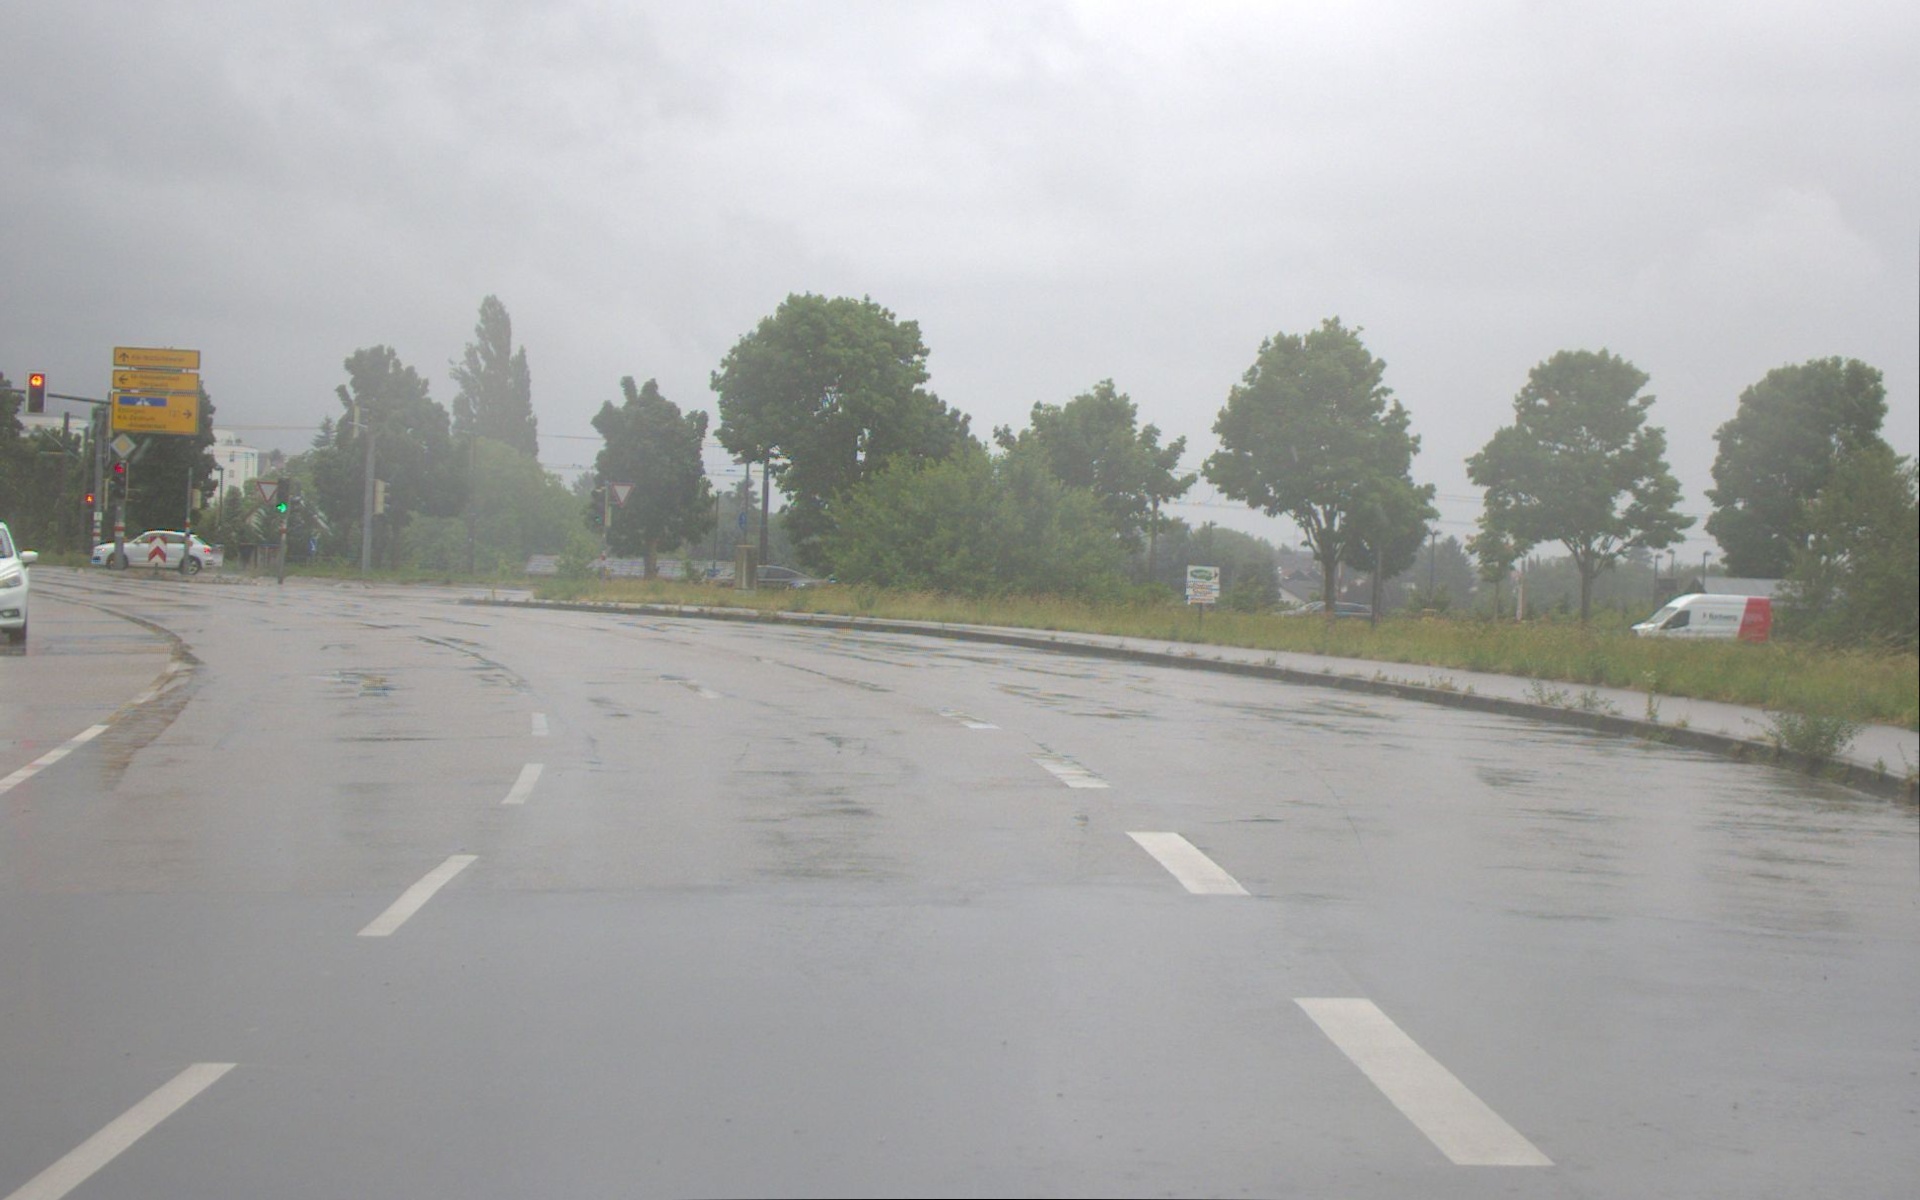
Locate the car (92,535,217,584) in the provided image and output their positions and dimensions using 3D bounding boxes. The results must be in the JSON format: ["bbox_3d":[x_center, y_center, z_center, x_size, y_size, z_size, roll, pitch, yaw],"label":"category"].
[{"bbox_3d":[-29.532,-1.480,126.072,4.374,1.574,1.733,3,1,-13],"label":"car"}]

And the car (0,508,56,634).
[{"bbox_3d":[-12.214,-0.386,42.329,1.739,1.482,4.012,0,1,-10],"label":"car"}]
